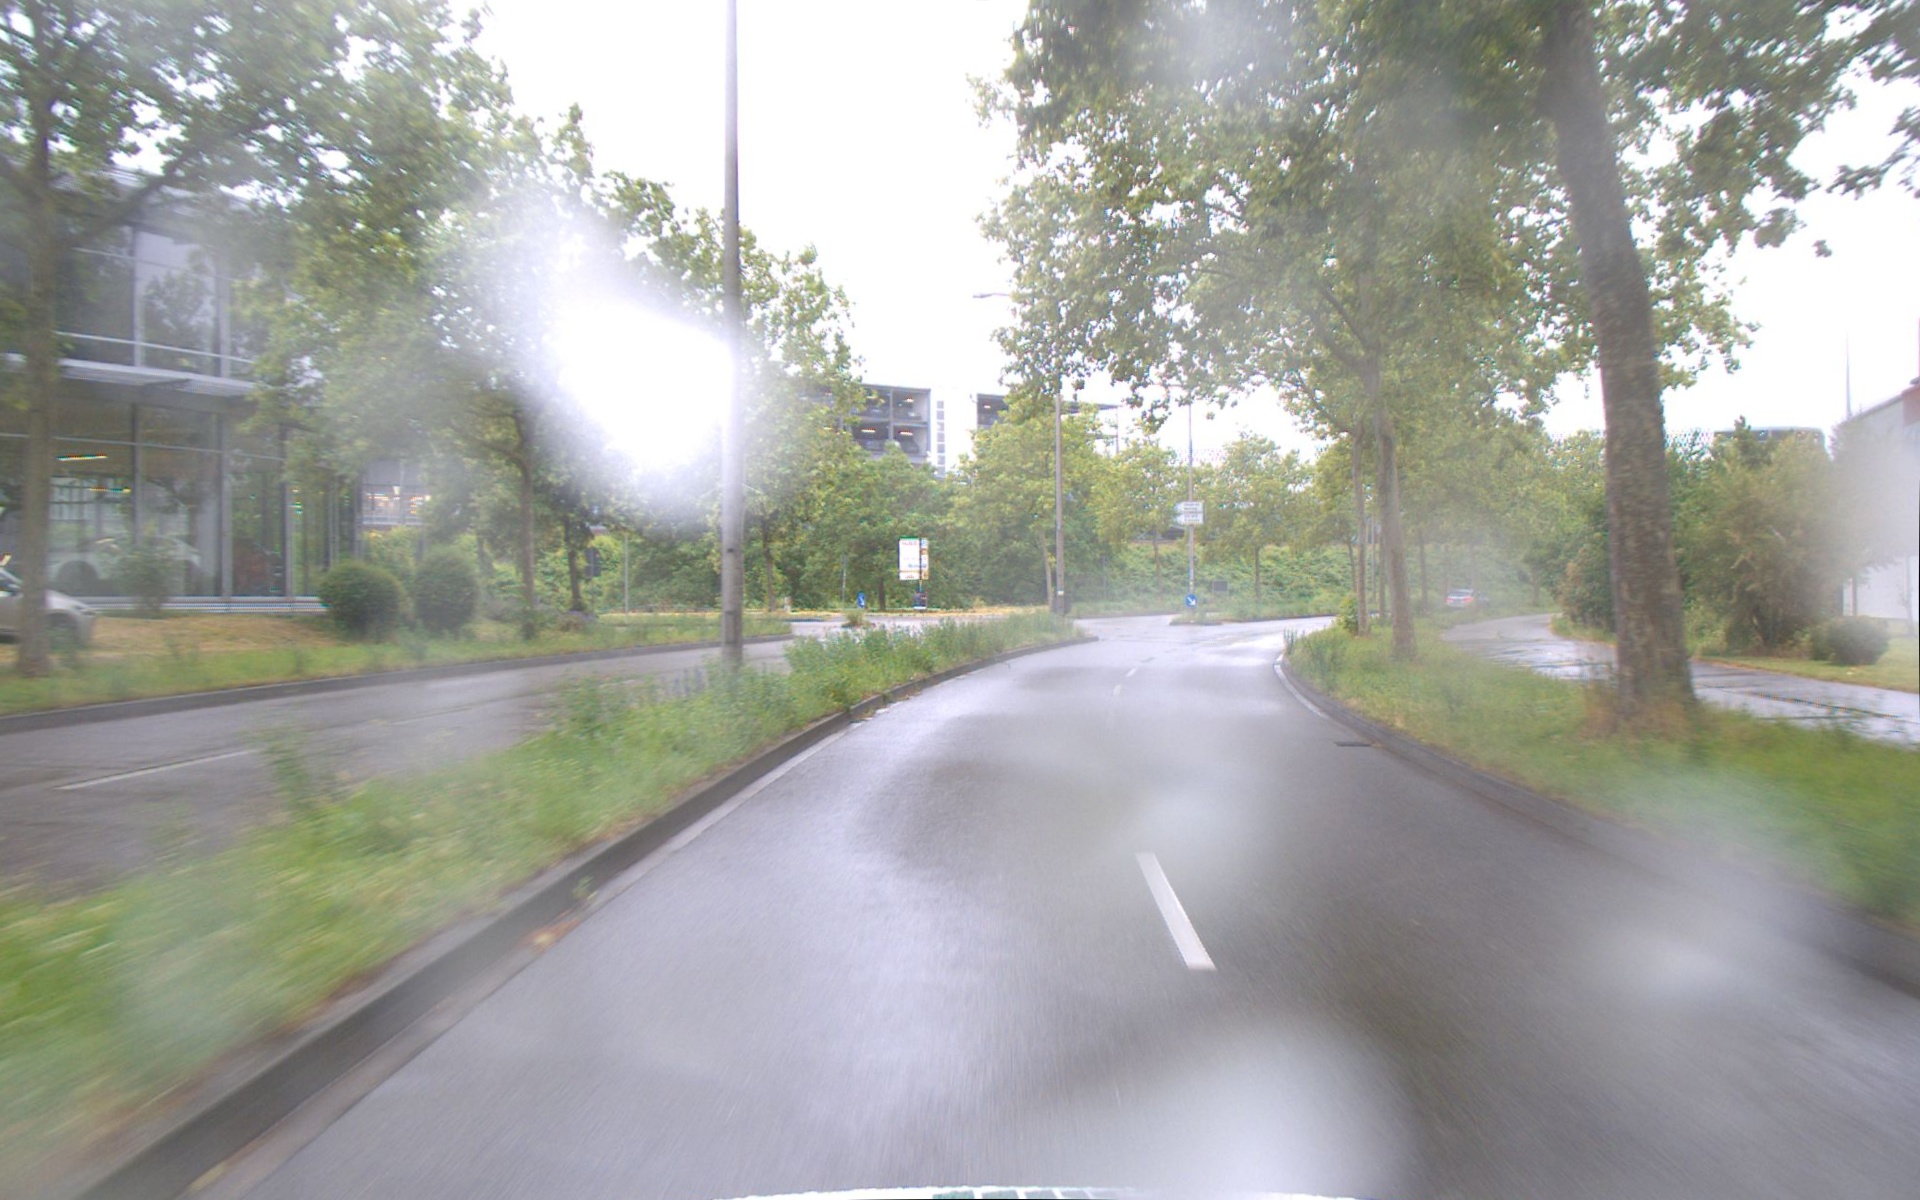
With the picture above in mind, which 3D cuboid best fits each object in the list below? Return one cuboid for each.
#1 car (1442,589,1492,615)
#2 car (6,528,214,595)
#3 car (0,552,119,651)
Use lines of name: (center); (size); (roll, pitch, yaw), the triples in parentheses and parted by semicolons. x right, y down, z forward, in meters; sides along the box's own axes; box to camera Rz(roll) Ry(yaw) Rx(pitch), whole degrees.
car: (32.322, 0.113, 105.412); (1.750, 1.582, 3.983); (2, 2, 37)
car: (-20.233, -0.887, 39.514); (1.747, 1.502, 4.101); (0, 0, 33)
car: (-17.174, -0.076, 28.873); (1.755, 1.500, 3.976); (8, 1, 42)
